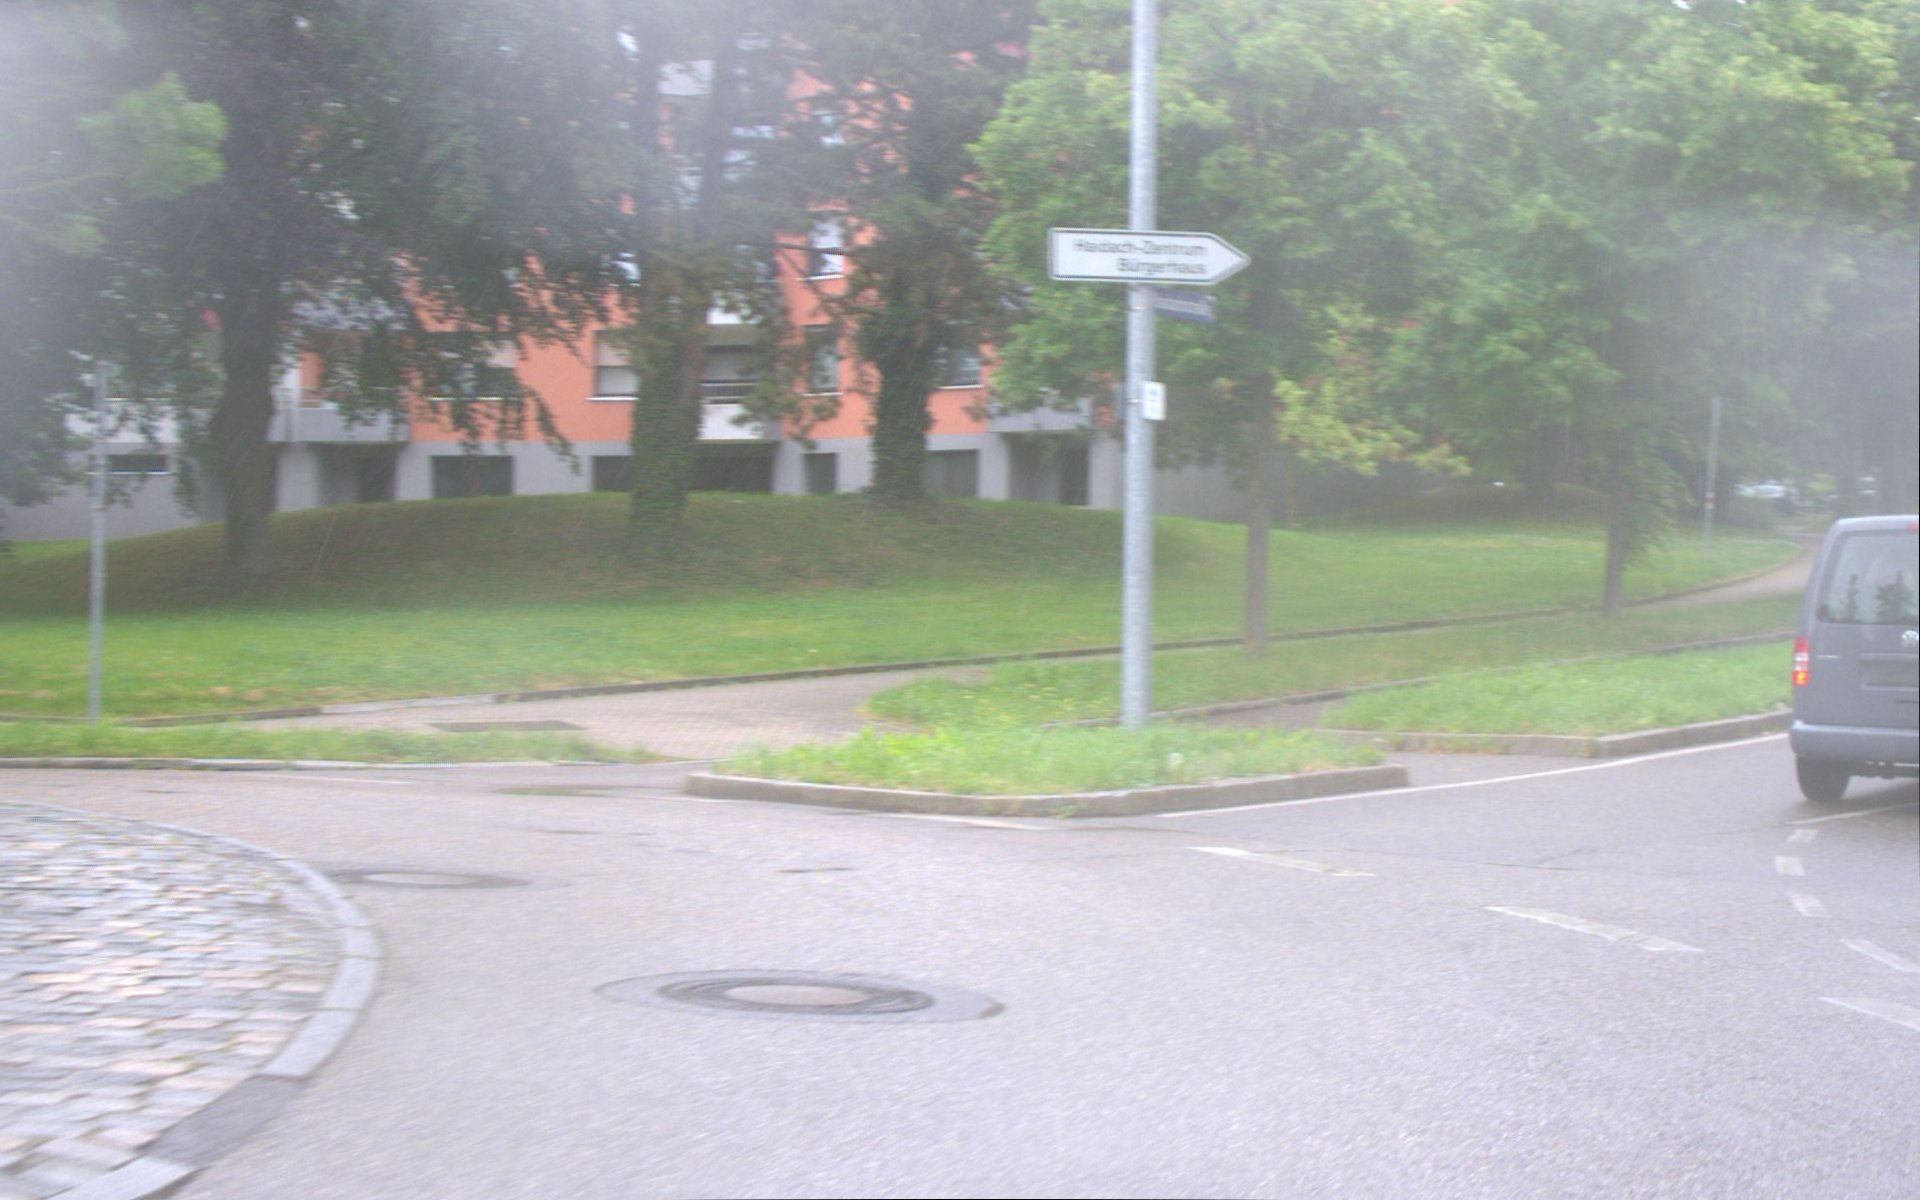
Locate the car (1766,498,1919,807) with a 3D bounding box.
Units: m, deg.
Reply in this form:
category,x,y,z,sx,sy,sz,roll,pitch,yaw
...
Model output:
category,x,y,z,sx,sy,sz,roll,pitch,yaw
car,6.747,0.263,22.182,1.922,1.795,3.783,1,3,32
